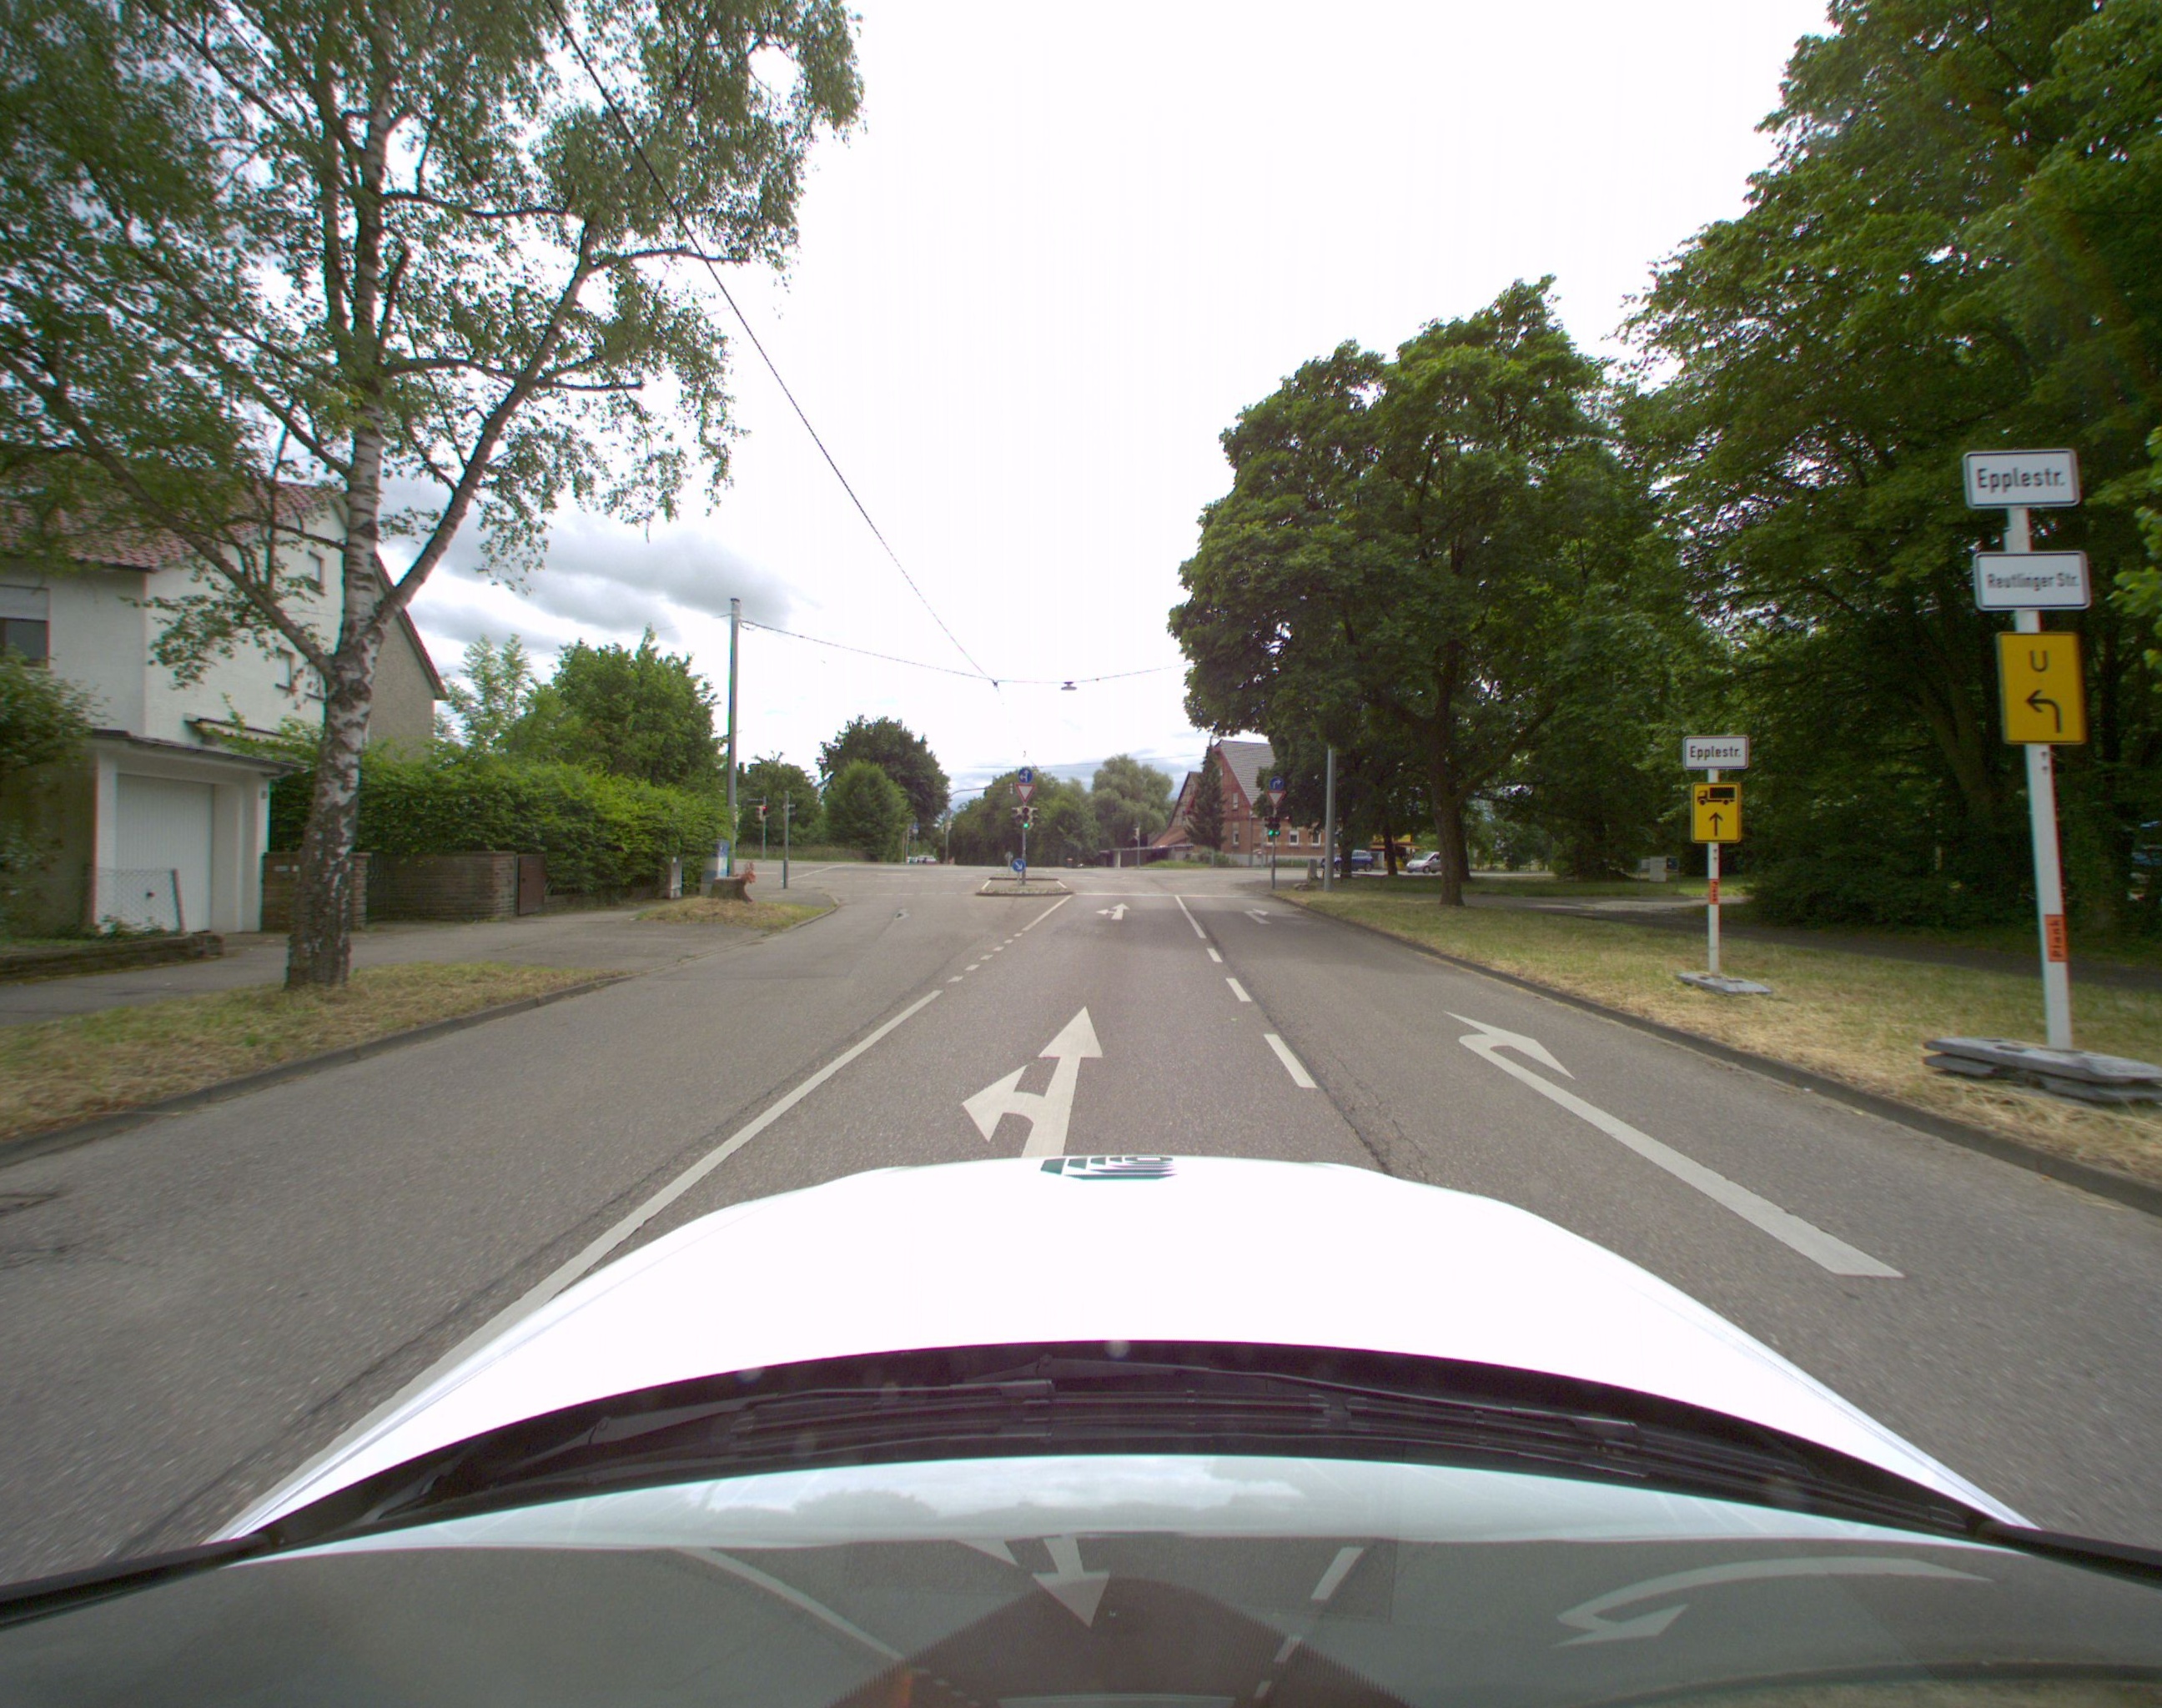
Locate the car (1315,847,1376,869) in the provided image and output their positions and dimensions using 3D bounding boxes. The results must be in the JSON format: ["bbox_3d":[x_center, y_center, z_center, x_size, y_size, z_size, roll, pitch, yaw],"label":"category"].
[{"bbox_3d":[19.687,0.300,60.625,3.853,1.647,1.989,0,0,-16],"label":"car"}]

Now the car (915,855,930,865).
[{"bbox_3d":[-22.570,0.785,116.066,1.797,1.409,3.980,0,0,-15],"label":"car"}]

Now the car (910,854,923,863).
[{"bbox_3d":[-25.879,0.759,128.039,1.797,1.409,3.980,0,0,-15],"label":"car"}]

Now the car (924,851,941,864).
[{"bbox_3d":[-18.631,0.440,102.034,1.797,1.512,3.980,0,0,-15],"label":"car"}]

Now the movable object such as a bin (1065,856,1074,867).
[{"bbox_3d":[-1.026,0.673,74.888,0.635,1.001,0.579,1,-2,-24],"label":"movable object such as a bin"}]

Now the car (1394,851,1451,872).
[{"bbox_3d":[24.961,0.528,59.578,3.474,1.531,1.986,0,0,-22],"label":"car"}]

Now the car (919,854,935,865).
[{"bbox_3d":[-20.468,0.764,108.335,1.797,1.409,3.980,0,0,-15],"label":"car"}]
